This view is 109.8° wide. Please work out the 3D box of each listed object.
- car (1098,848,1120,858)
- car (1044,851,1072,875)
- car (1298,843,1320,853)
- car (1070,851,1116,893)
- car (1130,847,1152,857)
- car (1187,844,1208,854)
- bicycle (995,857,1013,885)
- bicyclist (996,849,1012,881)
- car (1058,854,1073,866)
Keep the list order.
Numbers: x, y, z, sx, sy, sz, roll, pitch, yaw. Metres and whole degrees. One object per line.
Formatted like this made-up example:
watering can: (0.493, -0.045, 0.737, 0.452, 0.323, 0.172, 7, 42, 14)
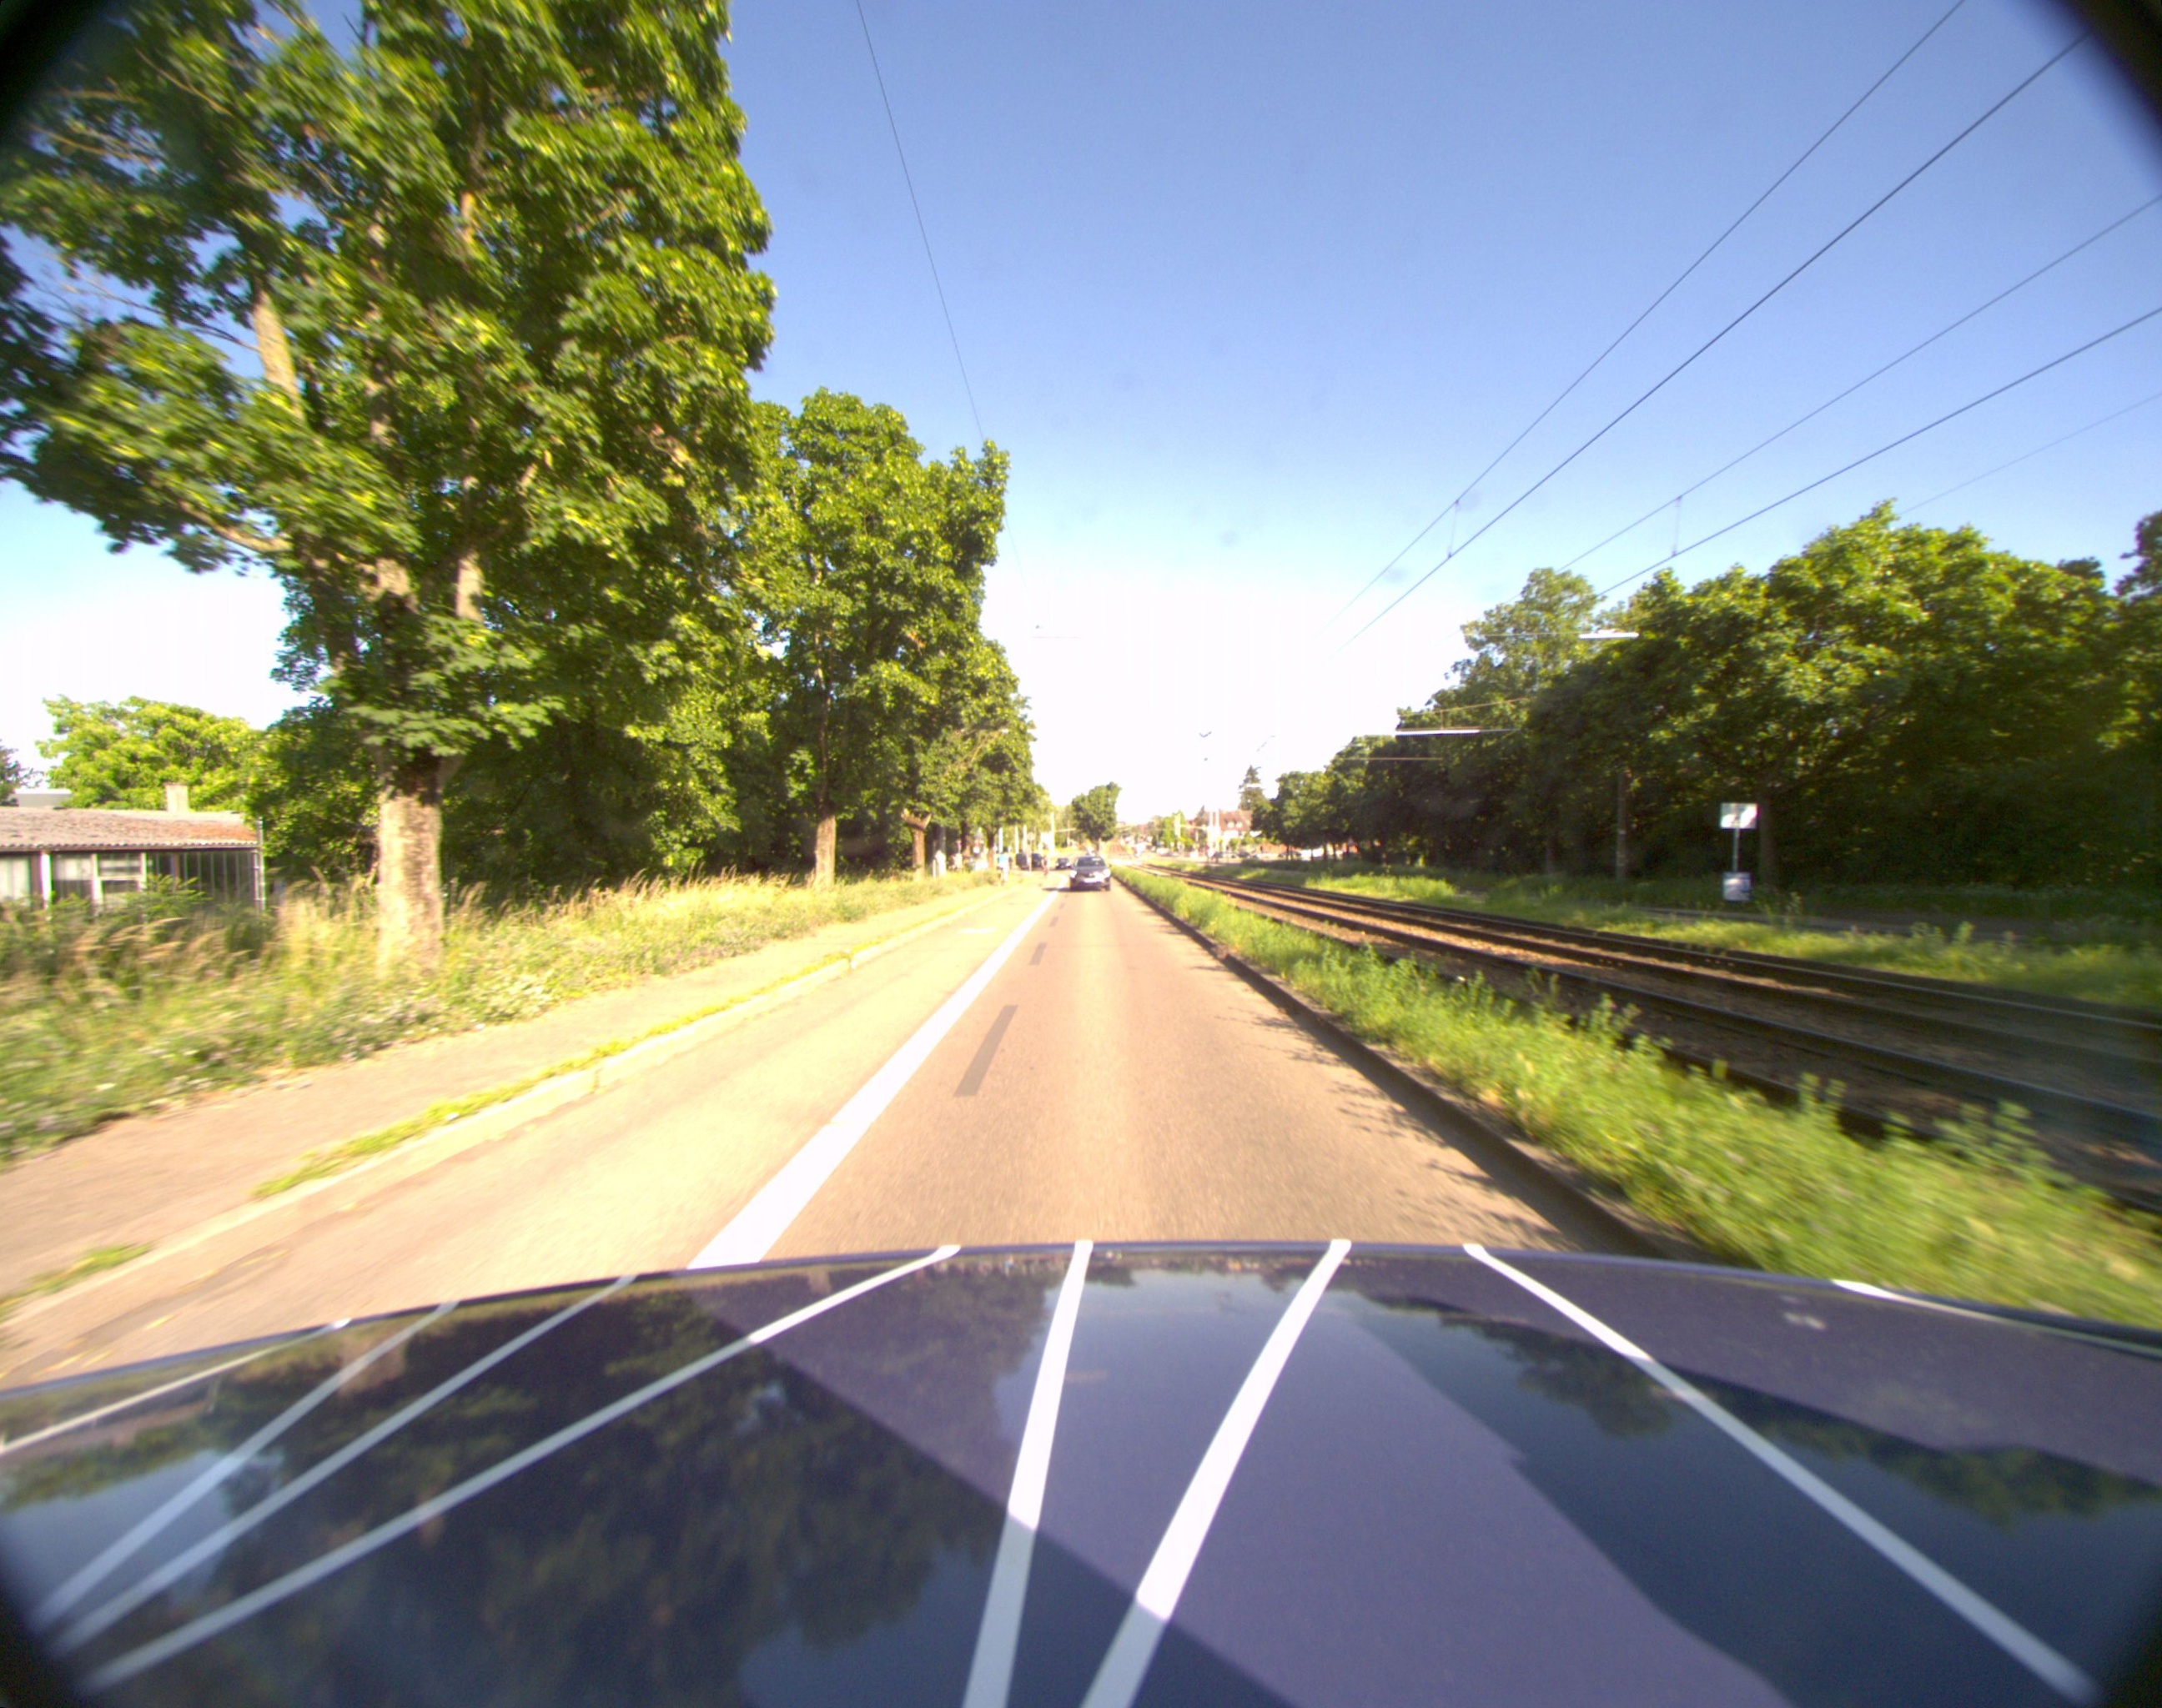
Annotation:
car: (5.715, -0.212, 156.259, 4.003, 1.936, 1.968, -2, 1, -19)
car: (-1.712, 0.667, 57.275, 1.814, 1.625, 4.128, -2, 1, 1)
car: (49.342, -1.364, 164.312, 4.003, 1.936, 1.968, -2, 1, -19)
car: (0.530, 0.786, 33.599, 1.814, 1.625, 4.711, -3, -1, 1)
car: (12.551, -0.494, 158.915, 4.003, 1.936, 1.968, -2, 1, -19)
car: (24.863, -0.988, 162.517, 4.003, 1.936, 1.968, -2, 1, -19)
bicycle: (-3.883, 0.845, 38.465, 0.647, 1.344, 2.240, -2, 1, 1)
bicyclist: (-3.879, 0.565, 38.454, 0.655, 1.575, 0.698, -2, 1, 1)
car: (-1.811, 0.748, 89.095, 1.563, 1.279, 3.455, -2, 1, 1)
